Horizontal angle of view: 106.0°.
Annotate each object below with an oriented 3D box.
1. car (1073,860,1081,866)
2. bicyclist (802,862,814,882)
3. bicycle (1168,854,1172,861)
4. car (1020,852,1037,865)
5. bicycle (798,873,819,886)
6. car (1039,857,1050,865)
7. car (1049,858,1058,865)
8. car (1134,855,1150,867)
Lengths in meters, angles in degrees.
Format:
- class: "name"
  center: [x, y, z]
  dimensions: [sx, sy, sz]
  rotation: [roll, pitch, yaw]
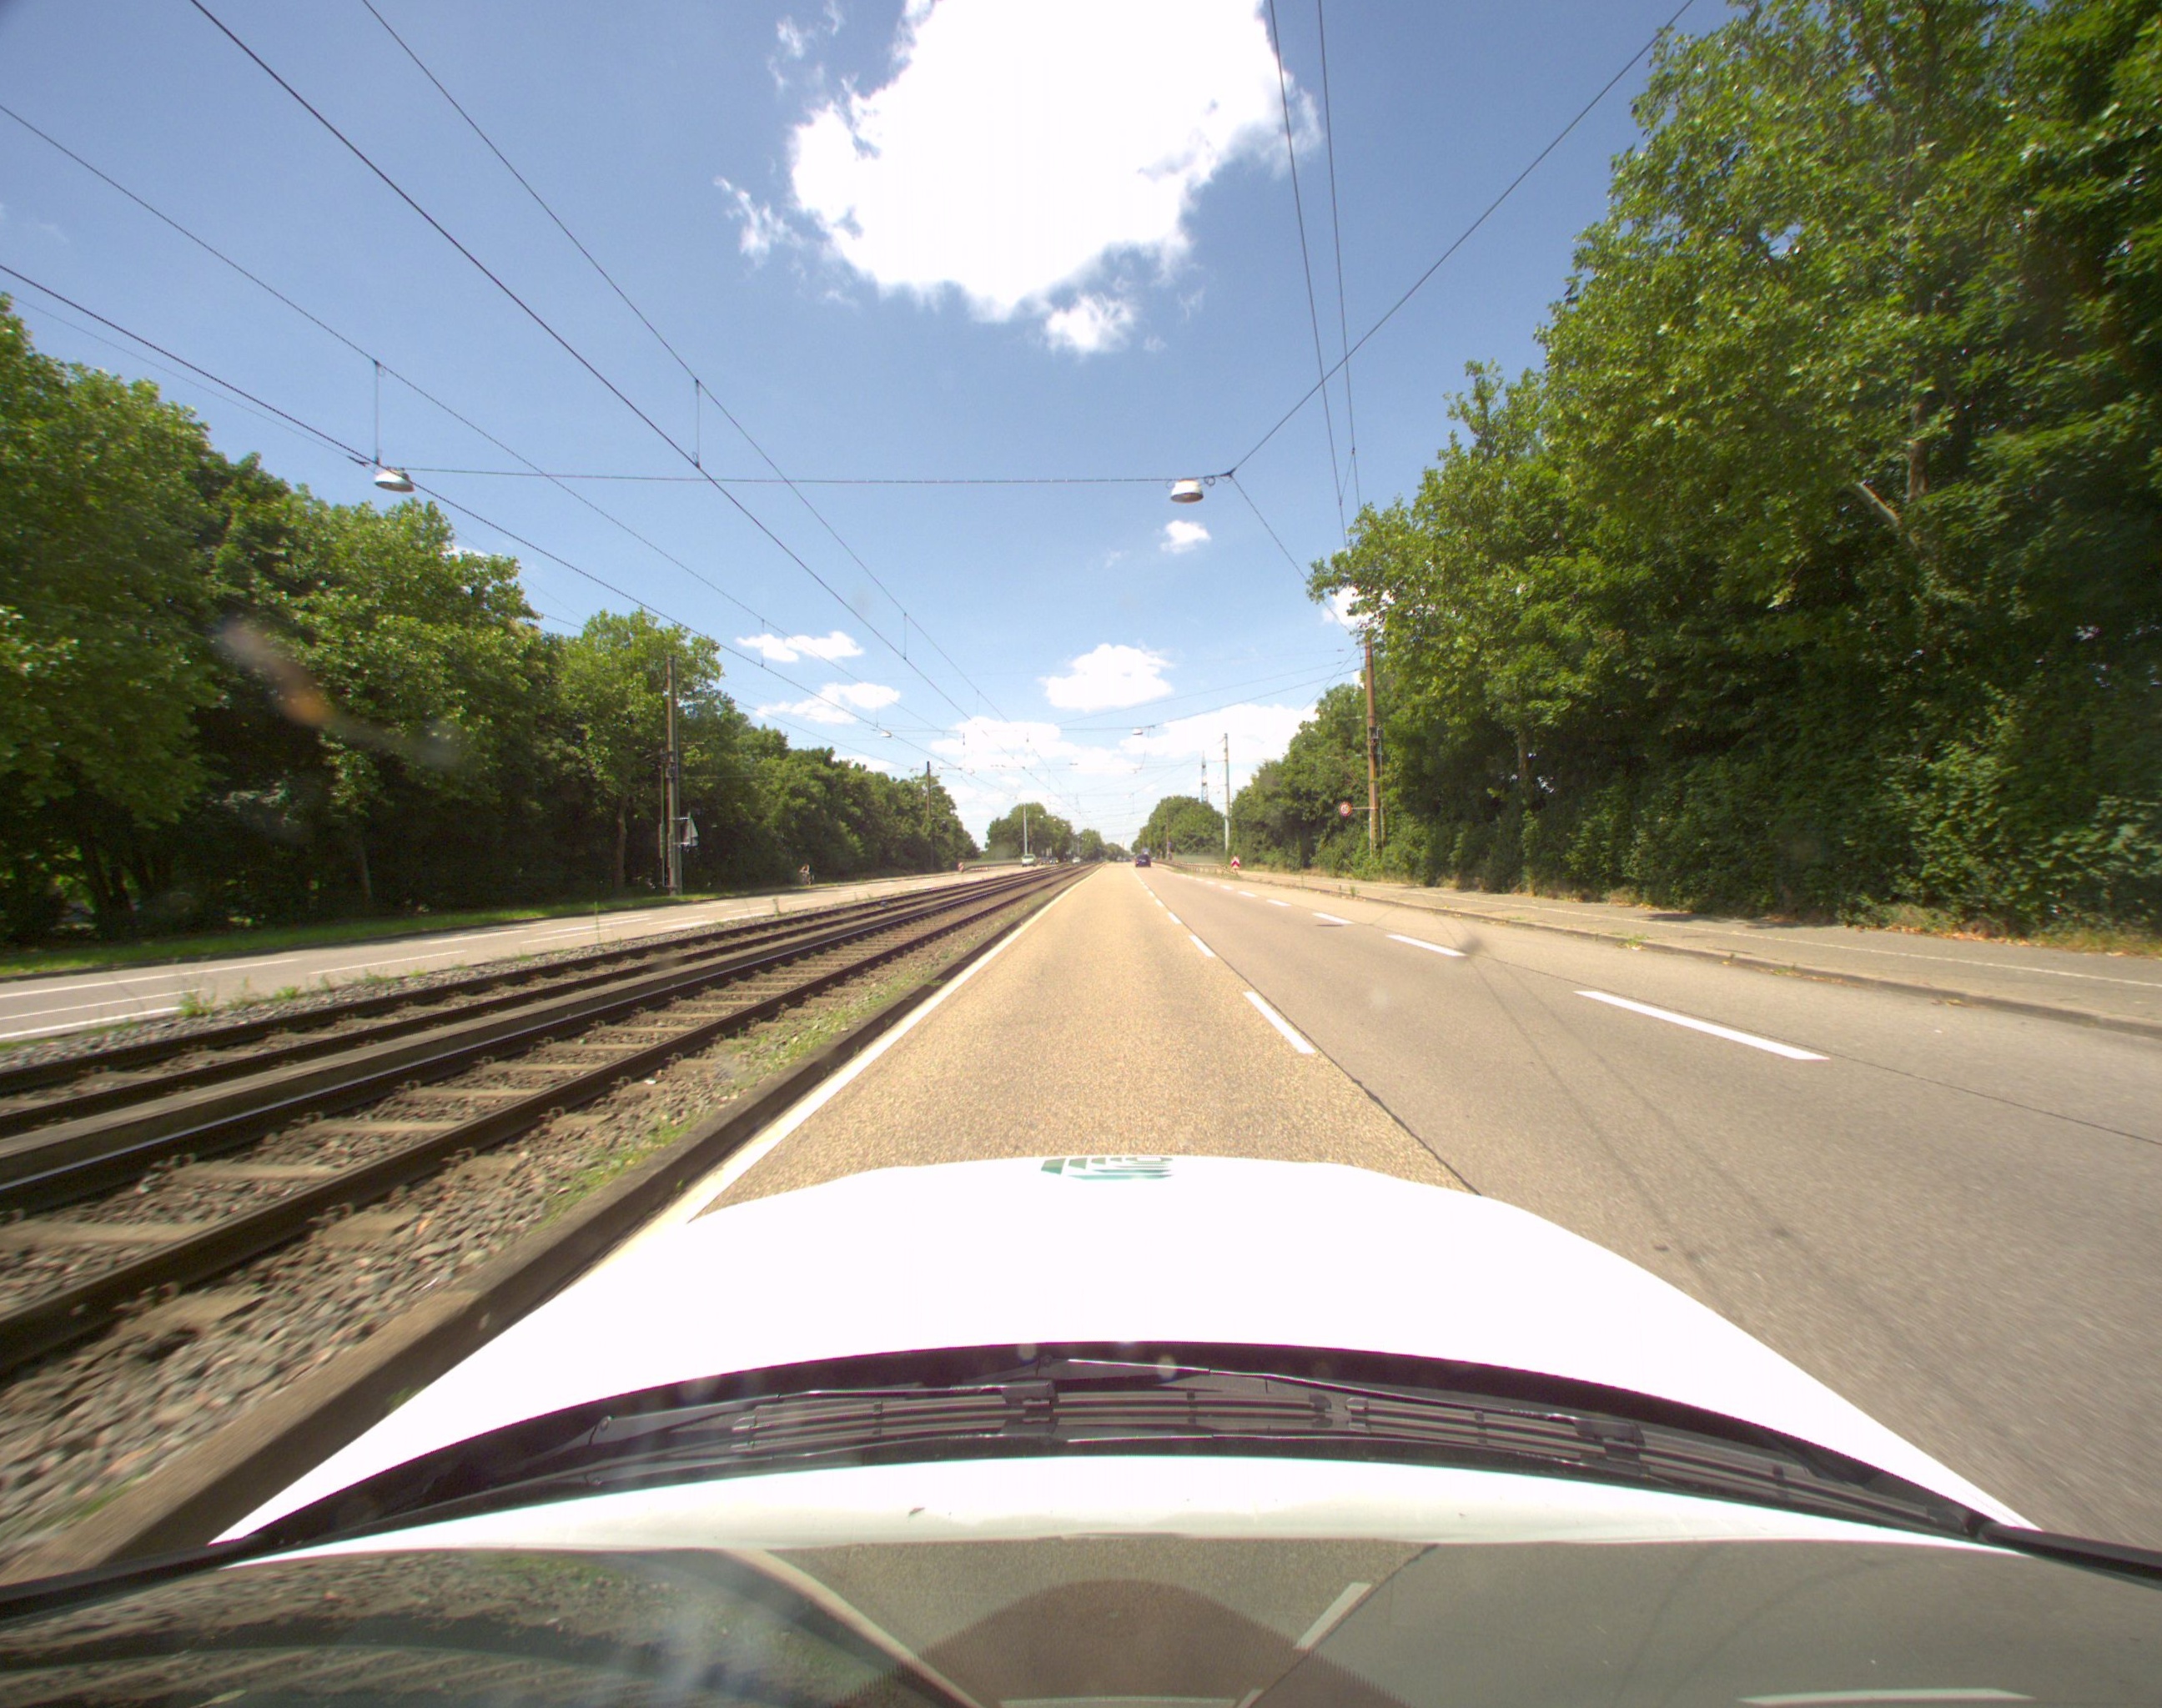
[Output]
- class: "car"
  center: [-1.021, 2.199, 196.953]
  dimensions: [1.704, 1.420, 4.627]
  rotation: [-2, -1, 3]
- class: "bicyclist"
  center: [-18.991, 1.256, 56.570]
  dimensions: [0.566, 1.368, 0.632]
  rotation: [0, -1, 4]
- class: "bicycle"
  center: [13.843, 0.605, 126.518]
  dimensions: [0.557, 1.024, 1.849]
  rotation: [-2, -1, 3]
- class: "car"
  center: [-7.925, 0.677, 122.864]
  dimensions: [1.804, 1.925, 5.183]
  rotation: [-2, -1, 3]
- class: "bicycle"
  center: [-18.961, 1.740, 56.641]
  dimensions: [0.583, 0.819, 2.071]
  rotation: [-3, -1, 5]
- class: "car"
  center: [-6.784, 1.315, 152.436]
  dimensions: [1.556, 1.347, 3.932]
  rotation: [-2, -1, 3]
- class: "car"
  center: [-5.853, 1.568, 172.352]
  dimensions: [1.568, 1.400, 3.940]
  rotation: [-2, -1, 2]
- class: "car"
  center: [7.011, 0.789, 93.524]
  dimensions: [1.580, 1.343, 3.273]
  rotation: [-2, 0, 1]
